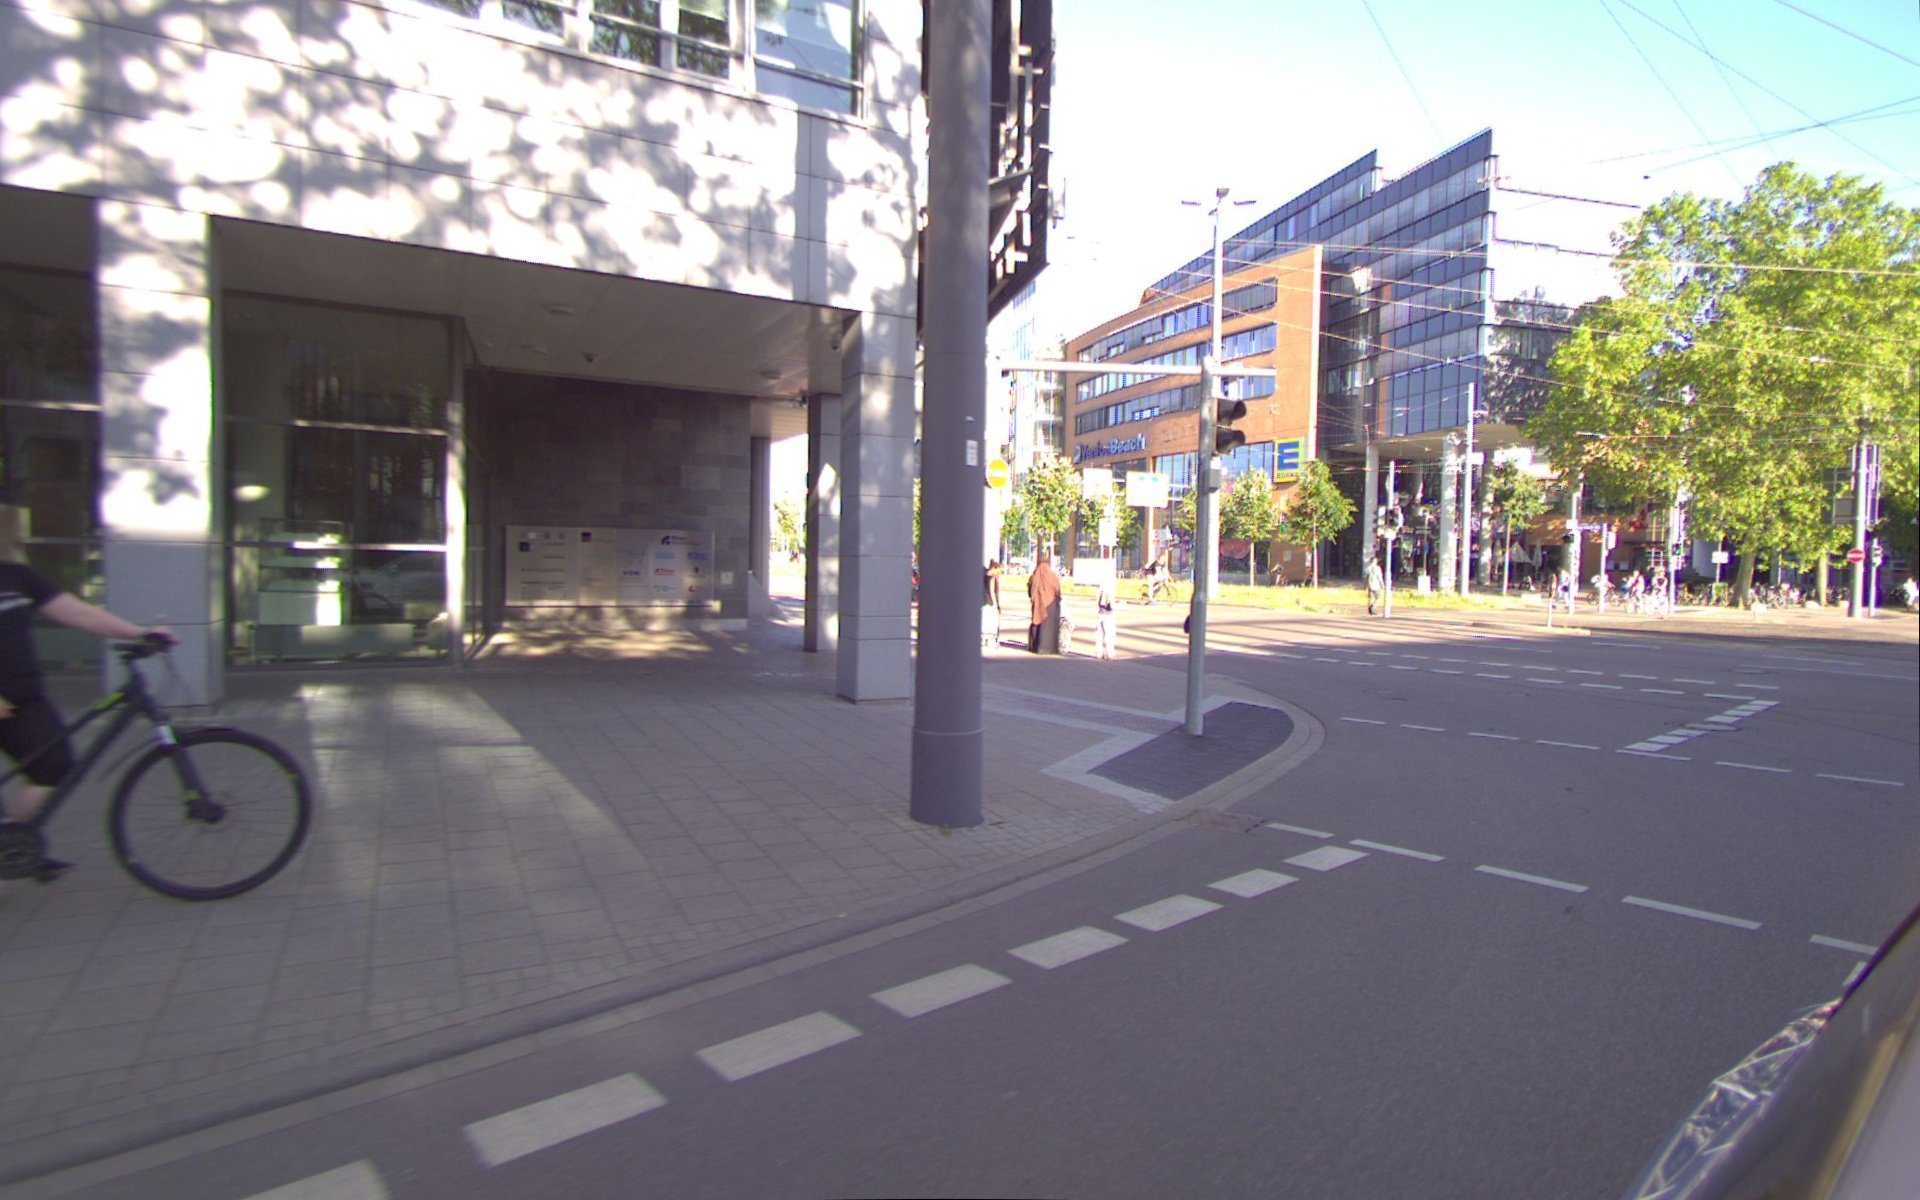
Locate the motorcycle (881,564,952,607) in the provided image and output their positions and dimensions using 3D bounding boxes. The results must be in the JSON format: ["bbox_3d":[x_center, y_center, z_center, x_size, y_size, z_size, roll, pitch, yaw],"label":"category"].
[{"bbox_3d":[-1.401,-0.491,31.919,0.967,1.247,2.947,0,3,-30],"label":"motorcycle"}]

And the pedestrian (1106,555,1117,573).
[{"bbox_3d":[13.401,-3.203,89.638,0.693,1.588,0.624,0,3,-18],"label":"pedestrian"}]

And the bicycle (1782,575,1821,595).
[{"bbox_3d":[50.108,-0.897,60.276,0.867,1.104,2.913,2,3,21],"label":"bicycle"}]

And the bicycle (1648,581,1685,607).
[{"bbox_3d":[29.149,-0.258,41.762,1.822,1.034,0.517,-1,2,-30],"label":"bicycle"}]

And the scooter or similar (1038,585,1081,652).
[{"bbox_3d":[1.831,0.316,18.524,0.543,1.143,1.012,2,2,19],"label":"scooter or similar"}]

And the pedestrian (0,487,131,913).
[{"bbox_3d":[-3.885,0.367,4.071,0.822,1.630,0.606,1,4,-38],"label":"pedestrian"}]

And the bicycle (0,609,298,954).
[{"bbox_3d":[-3.615,0.651,3.814,1.814,1.177,0.613,1,5,-38],"label":"bicycle"}]

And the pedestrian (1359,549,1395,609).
[{"bbox_3d":[13.067,-0.663,31.724,0.869,1.845,0.677,-2,3,-36],"label":"pedestrian"}]

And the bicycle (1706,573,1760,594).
[{"bbox_3d":[46.306,-1.000,60.669,0.861,1.104,2.934,1,3,0],"label":"bicycle"}]

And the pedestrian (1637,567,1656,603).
[{"bbox_3d":[31.130,-0.687,45.876,0.647,1.601,0.489,0,3,-38],"label":"pedestrian"}]

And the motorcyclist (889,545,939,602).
[{"bbox_3d":[-1.464,-0.849,32.002,1.002,1.752,1.462,0,2,-30],"label":"motorcyclist"}]

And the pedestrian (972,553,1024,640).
[{"bbox_3d":[0.716,-0.072,19.181,0.690,1.621,0.660,1,1,-31],"label":"pedestrian"}]

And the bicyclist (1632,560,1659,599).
[{"bbox_3d":[27.160,-0.833,40.101,0.730,1.521,0.571,-1,2,-30],"label":"bicyclist"}]

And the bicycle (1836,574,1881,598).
[{"bbox_3d":[51.146,-0.802,57.650,0.867,1.250,2.913,2,3,21],"label":"bicycle"}]

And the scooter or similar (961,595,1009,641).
[{"bbox_3d":[0.464,0.313,18.479,0.654,0.800,0.611,2,1,29],"label":"scooter or similar"}]

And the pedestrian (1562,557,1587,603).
[{"bbox_3d":[25.546,-0.827,42.078,0.688,1.859,0.516,1,1,-6],"label":"pedestrian"}]

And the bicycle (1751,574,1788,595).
[{"bbox_3d":[48.899,-0.953,61.163,0.867,1.104,2.913,2,3,21],"label":"bicycle"}]

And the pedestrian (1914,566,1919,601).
[{"bbox_3d":[50.882,-0.872,53.410,0.607,1.798,0.642,-1,2,-42],"label":"pedestrian"}]

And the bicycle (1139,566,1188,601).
[{"bbox_3d":[6.927,-0.576,34.529,0.632,1.121,1.686,0,3,-33],"label":"bicycle"}]

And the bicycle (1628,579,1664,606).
[{"bbox_3d":[27.169,-0.311,40.084,1.600,1.034,0.517,-1,2,-29],"label":"bicycle"}]

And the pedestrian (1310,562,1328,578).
[{"bbox_3d":[24.384,-2.033,68.789,0.770,1.070,0.816,0,3,-19],"label":"pedestrian"}]

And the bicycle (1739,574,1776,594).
[{"bbox_3d":[47.734,-0.959,60.627,0.867,1.104,2.913,2,3,21],"label":"bicycle"}]

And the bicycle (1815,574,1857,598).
[{"bbox_3d":[50.185,-0.838,58.016,0.867,1.250,2.913,2,3,21],"label":"bicycle"}]

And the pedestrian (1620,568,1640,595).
[{"bbox_3d":[38.024,-1.058,57.432,0.762,1.545,0.565,0,2,-22],"label":"pedestrian"}]

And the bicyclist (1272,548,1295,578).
[{"bbox_3d":[21.823,-2.504,68.373,0.818,1.955,1.233,0,2,-24],"label":"bicyclist"}]

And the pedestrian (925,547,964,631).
[{"bbox_3d":[-0.340,-0.241,21.264,0.676,1.736,0.647,1,2,-12],"label":"pedestrian"}]

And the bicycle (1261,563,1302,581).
[{"bbox_3d":[21.744,-1.931,68.518,0.818,1.127,3.058,0,3,-24],"label":"bicycle"}]

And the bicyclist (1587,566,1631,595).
[{"bbox_3d":[32.640,-0.973,50.891,1.024,1.398,1.564,0,3,-37],"label":"bicyclist"}]

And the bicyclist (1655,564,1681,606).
[{"bbox_3d":[29.212,-0.619,41.763,0.730,1.715,0.570,-1,2,-30],"label":"bicyclist"}]

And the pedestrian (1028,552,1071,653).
[{"bbox_3d":[1.567,0.028,17.729,0.574,1.729,0.634,2,2,19],"label":"pedestrian"}]

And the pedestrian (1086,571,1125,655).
[{"bbox_3d":[2.539,0.215,17.627,0.539,1.419,0.634,2,2,19],"label":"pedestrian"}]

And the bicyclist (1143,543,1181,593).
[{"bbox_3d":[6.902,-1.104,34.541,0.751,1.687,0.994,0,2,-33],"label":"bicyclist"}]

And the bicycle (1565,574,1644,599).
[{"bbox_3d":[32.480,-0.716,51.084,1.024,1.146,3.180,-1,3,-37],"label":"bicycle"}]
